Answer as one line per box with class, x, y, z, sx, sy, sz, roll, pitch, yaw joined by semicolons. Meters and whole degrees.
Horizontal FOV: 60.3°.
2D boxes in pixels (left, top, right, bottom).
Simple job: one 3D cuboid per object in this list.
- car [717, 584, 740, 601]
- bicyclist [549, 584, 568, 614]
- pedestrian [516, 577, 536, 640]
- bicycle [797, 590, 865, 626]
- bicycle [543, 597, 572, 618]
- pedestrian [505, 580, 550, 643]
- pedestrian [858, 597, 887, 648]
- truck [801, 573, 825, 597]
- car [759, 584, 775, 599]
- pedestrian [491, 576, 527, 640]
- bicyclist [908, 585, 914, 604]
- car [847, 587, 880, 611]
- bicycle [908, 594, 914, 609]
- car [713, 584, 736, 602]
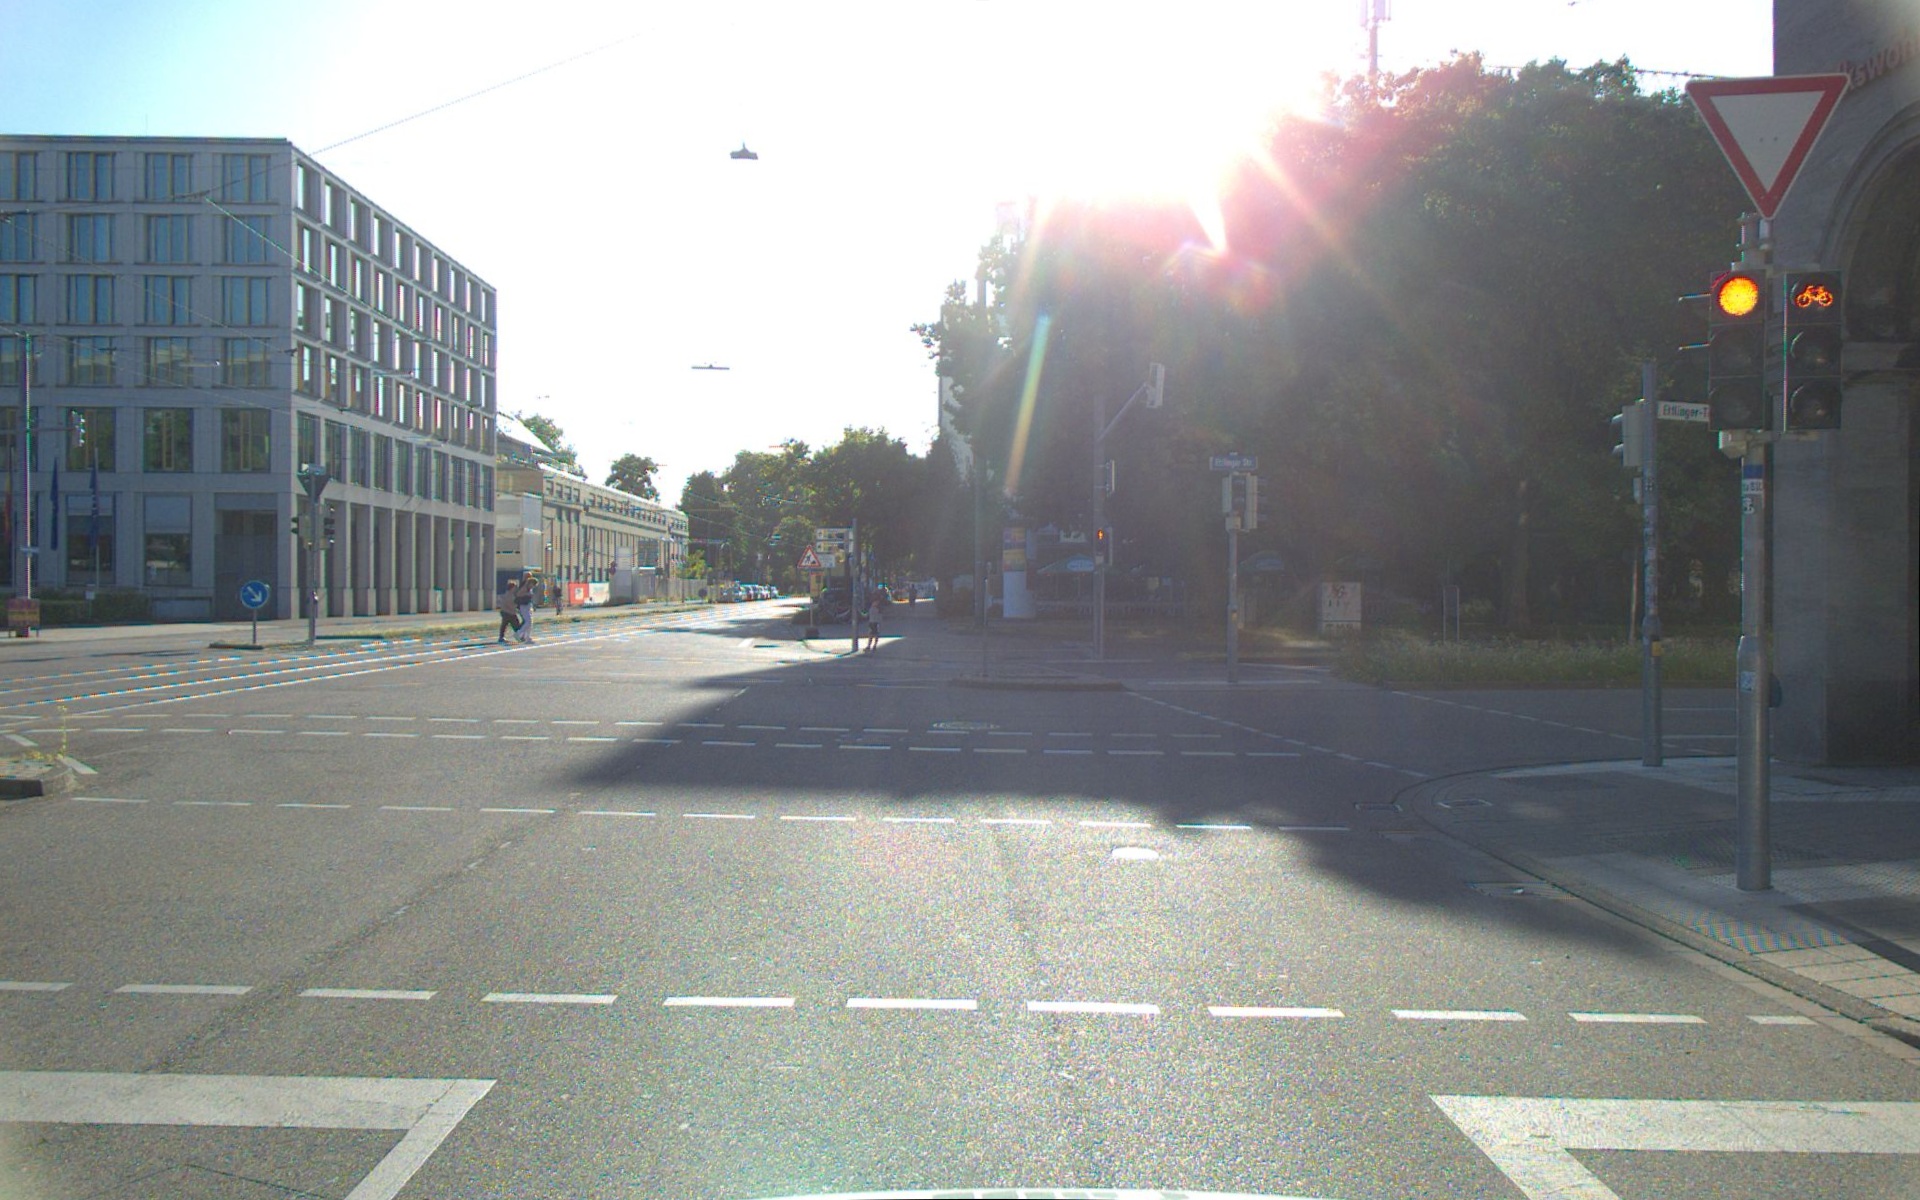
car;-22.339;-0.719;159.714;1.695;1.682;3.999;0;0;-1
bicyclist;-22.219;-0.067;91.490;0.857;1.670;0.822;0;0;0
pedestrian;-11.710;0.232;44.632;0.432;1.692;0.376;0;0;-2
bicycle;-5.230;0.331;67.054;2.688;1.391;0.631;1;-1;10
bicycle;-22.230;0.400;91.437;0.857;1.140;3.013;0;0;0
pedestrian;-11.180;0.302;42.756;0.964;1.615;0.660;0;-1;1
pedestrian;-2.354;0.610;44.489;0.737;1.356;0.742;0;0;0
truck;-13.353;-1.318;150.249;1.876;2.129;3.999;0;0;-1
car;-22.652;-0.981;194.161;1.453;1.780;3.999;0;0;-1
pedestrian;-11.904;0.201;43.685;0.779;1.668;0.533;0;0;2
bicyclist;-3.000;-0.332;101.412;0.312;1.147;0.291;0;0;-1
car;-5.363;-0.061;91.864;1.783;1.301;3.998;0;0;-3
bicycle;-2.991;0.079;101.326;0.317;0.883;1.483;0;0;-1
car;-22.110;-0.663;155.497;1.695;1.682;3.999;0;0;-1
